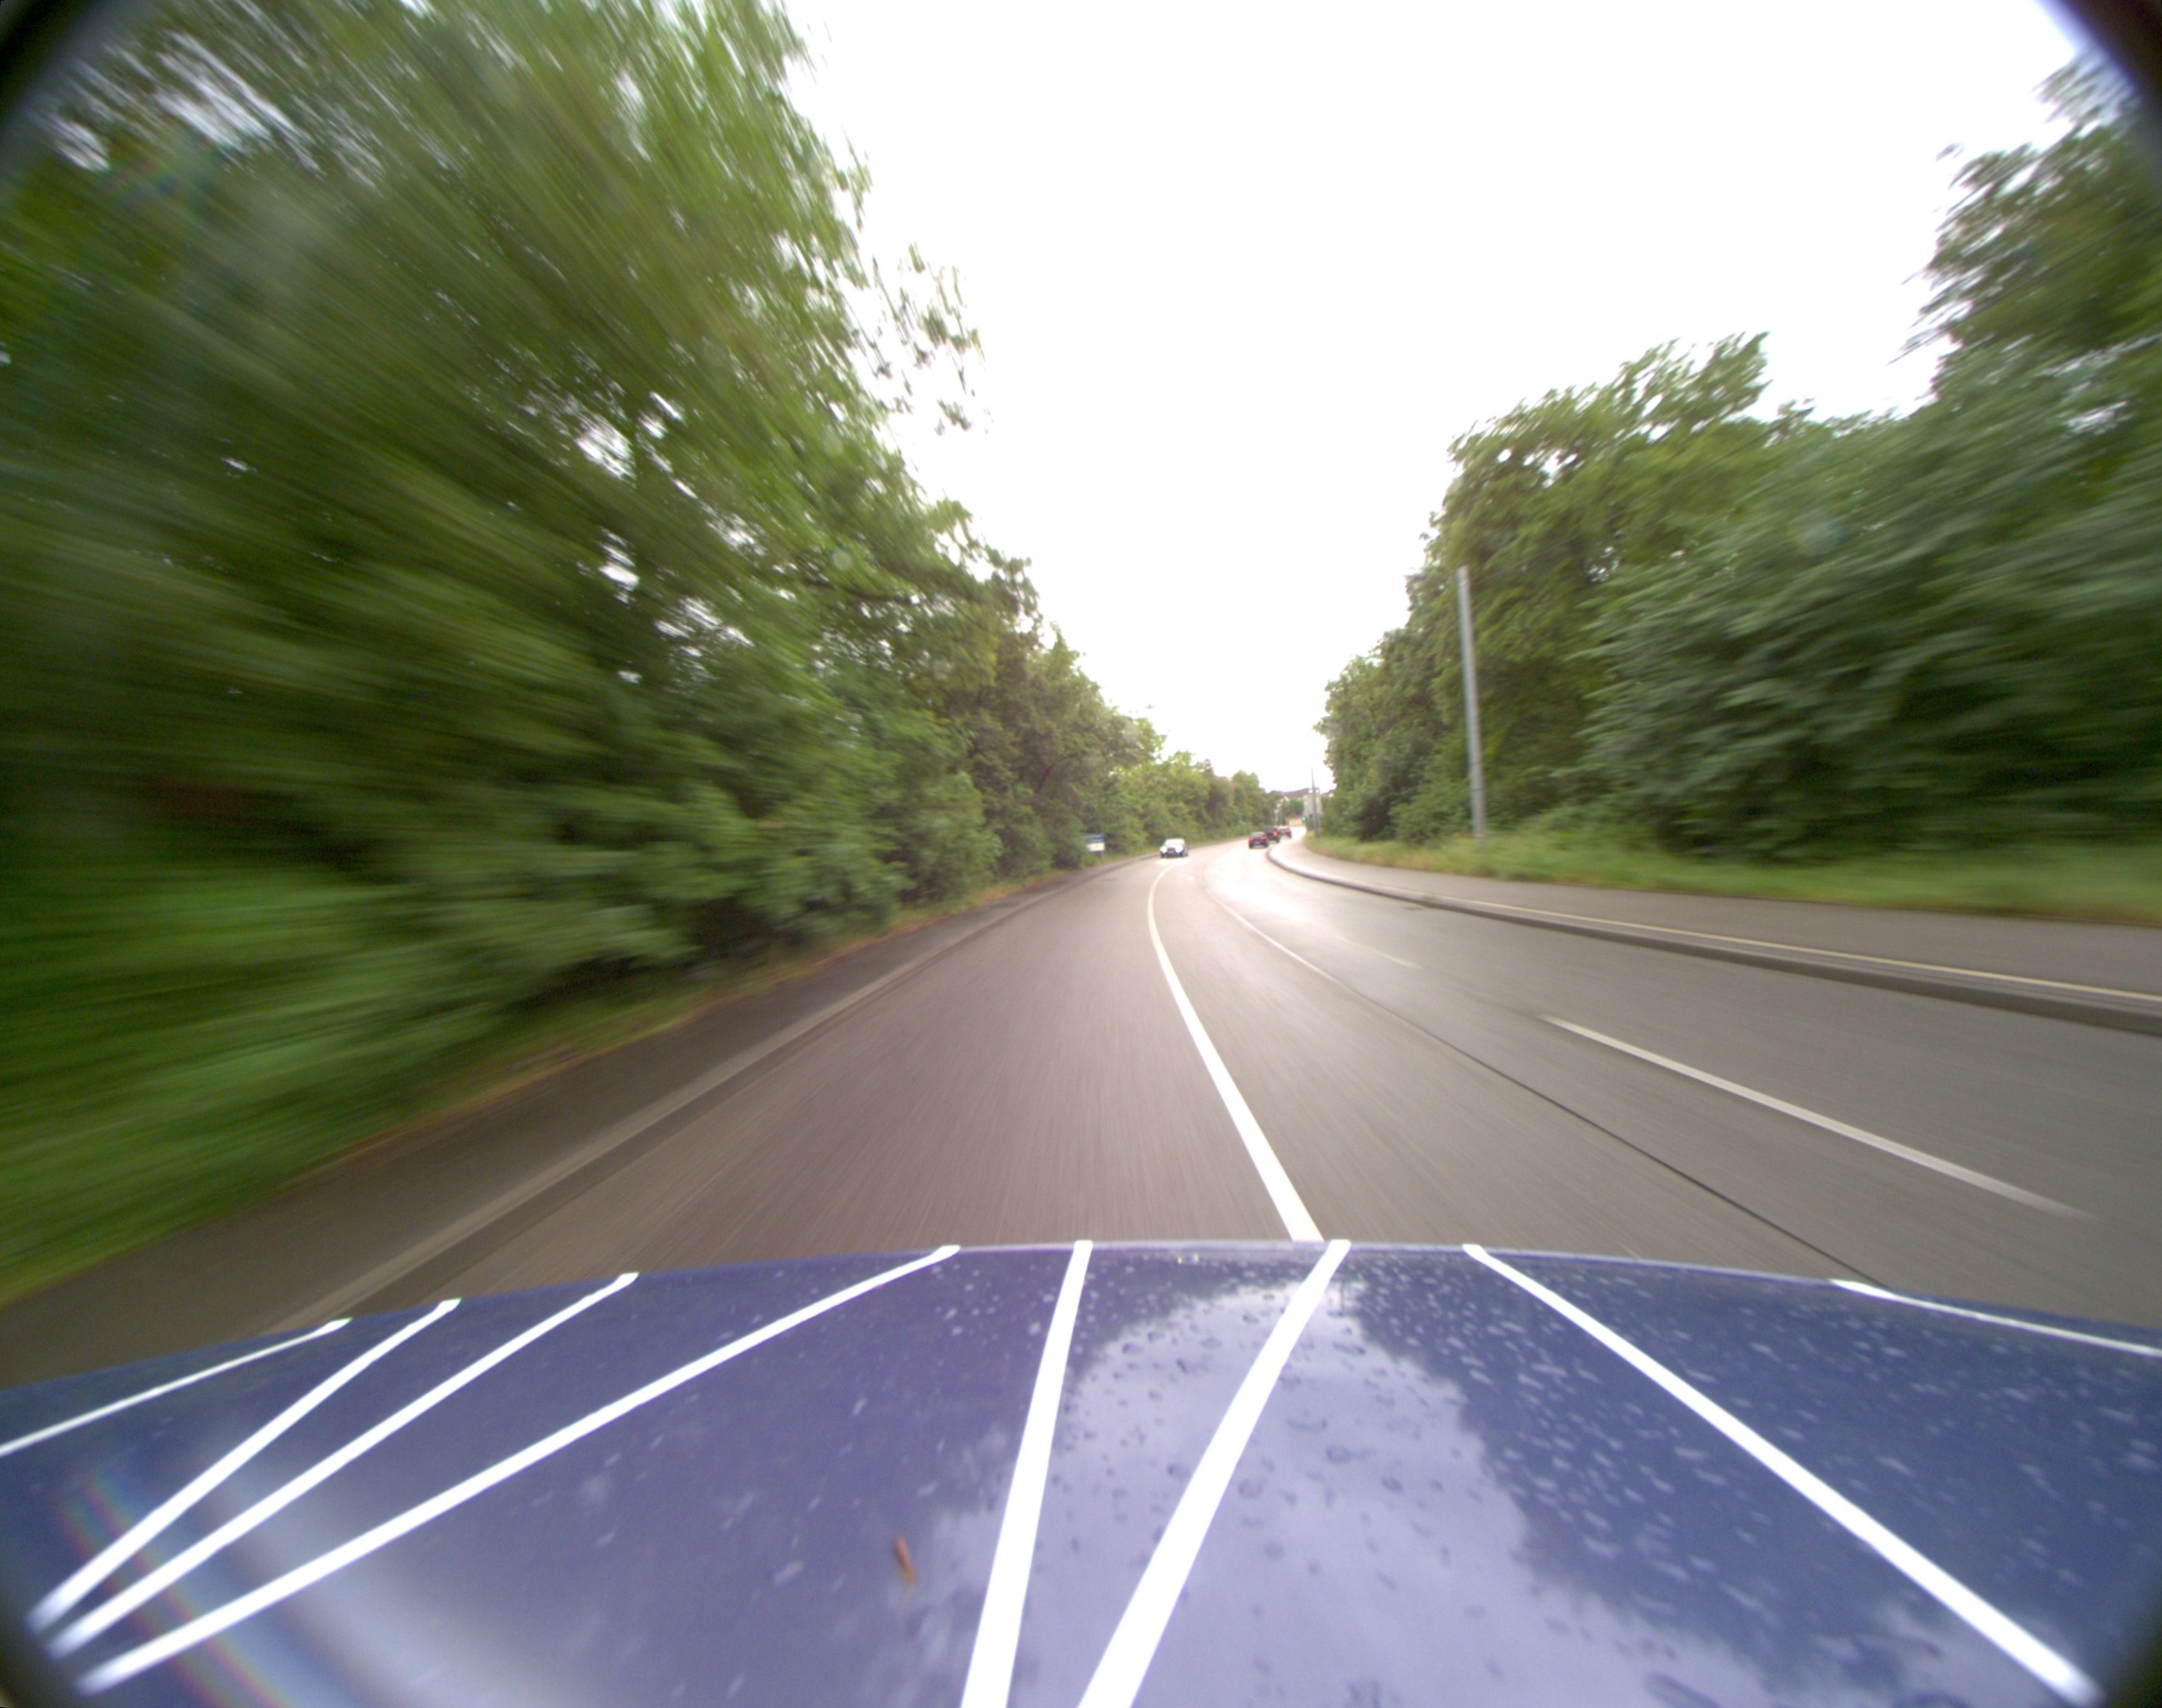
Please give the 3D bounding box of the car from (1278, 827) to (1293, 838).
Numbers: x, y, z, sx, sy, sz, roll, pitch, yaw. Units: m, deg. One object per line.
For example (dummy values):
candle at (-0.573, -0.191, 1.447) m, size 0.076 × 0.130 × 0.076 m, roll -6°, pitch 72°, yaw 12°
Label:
car at (29.126, -3.047, 108.288) m, size 1.829 × 1.512 × 4.004 m, roll 1°, pitch 1°, yaw 14°

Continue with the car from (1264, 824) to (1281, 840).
car at (22.577, -2.567, 89.798) m, size 1.829 × 1.832 × 4.715 m, roll 1°, pitch 1°, yaw 14°

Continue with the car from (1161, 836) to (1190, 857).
car at (7.493, -0.607, 60.152) m, size 1.829 × 1.512 × 4.004 m, roll 1°, pitch 1°, yaw 14°

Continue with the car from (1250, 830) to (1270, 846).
car at (17.704, -1.555, 75.048) m, size 1.830 × 1.432 × 4.004 m, roll -4°, pitch 0°, yaw 14°
